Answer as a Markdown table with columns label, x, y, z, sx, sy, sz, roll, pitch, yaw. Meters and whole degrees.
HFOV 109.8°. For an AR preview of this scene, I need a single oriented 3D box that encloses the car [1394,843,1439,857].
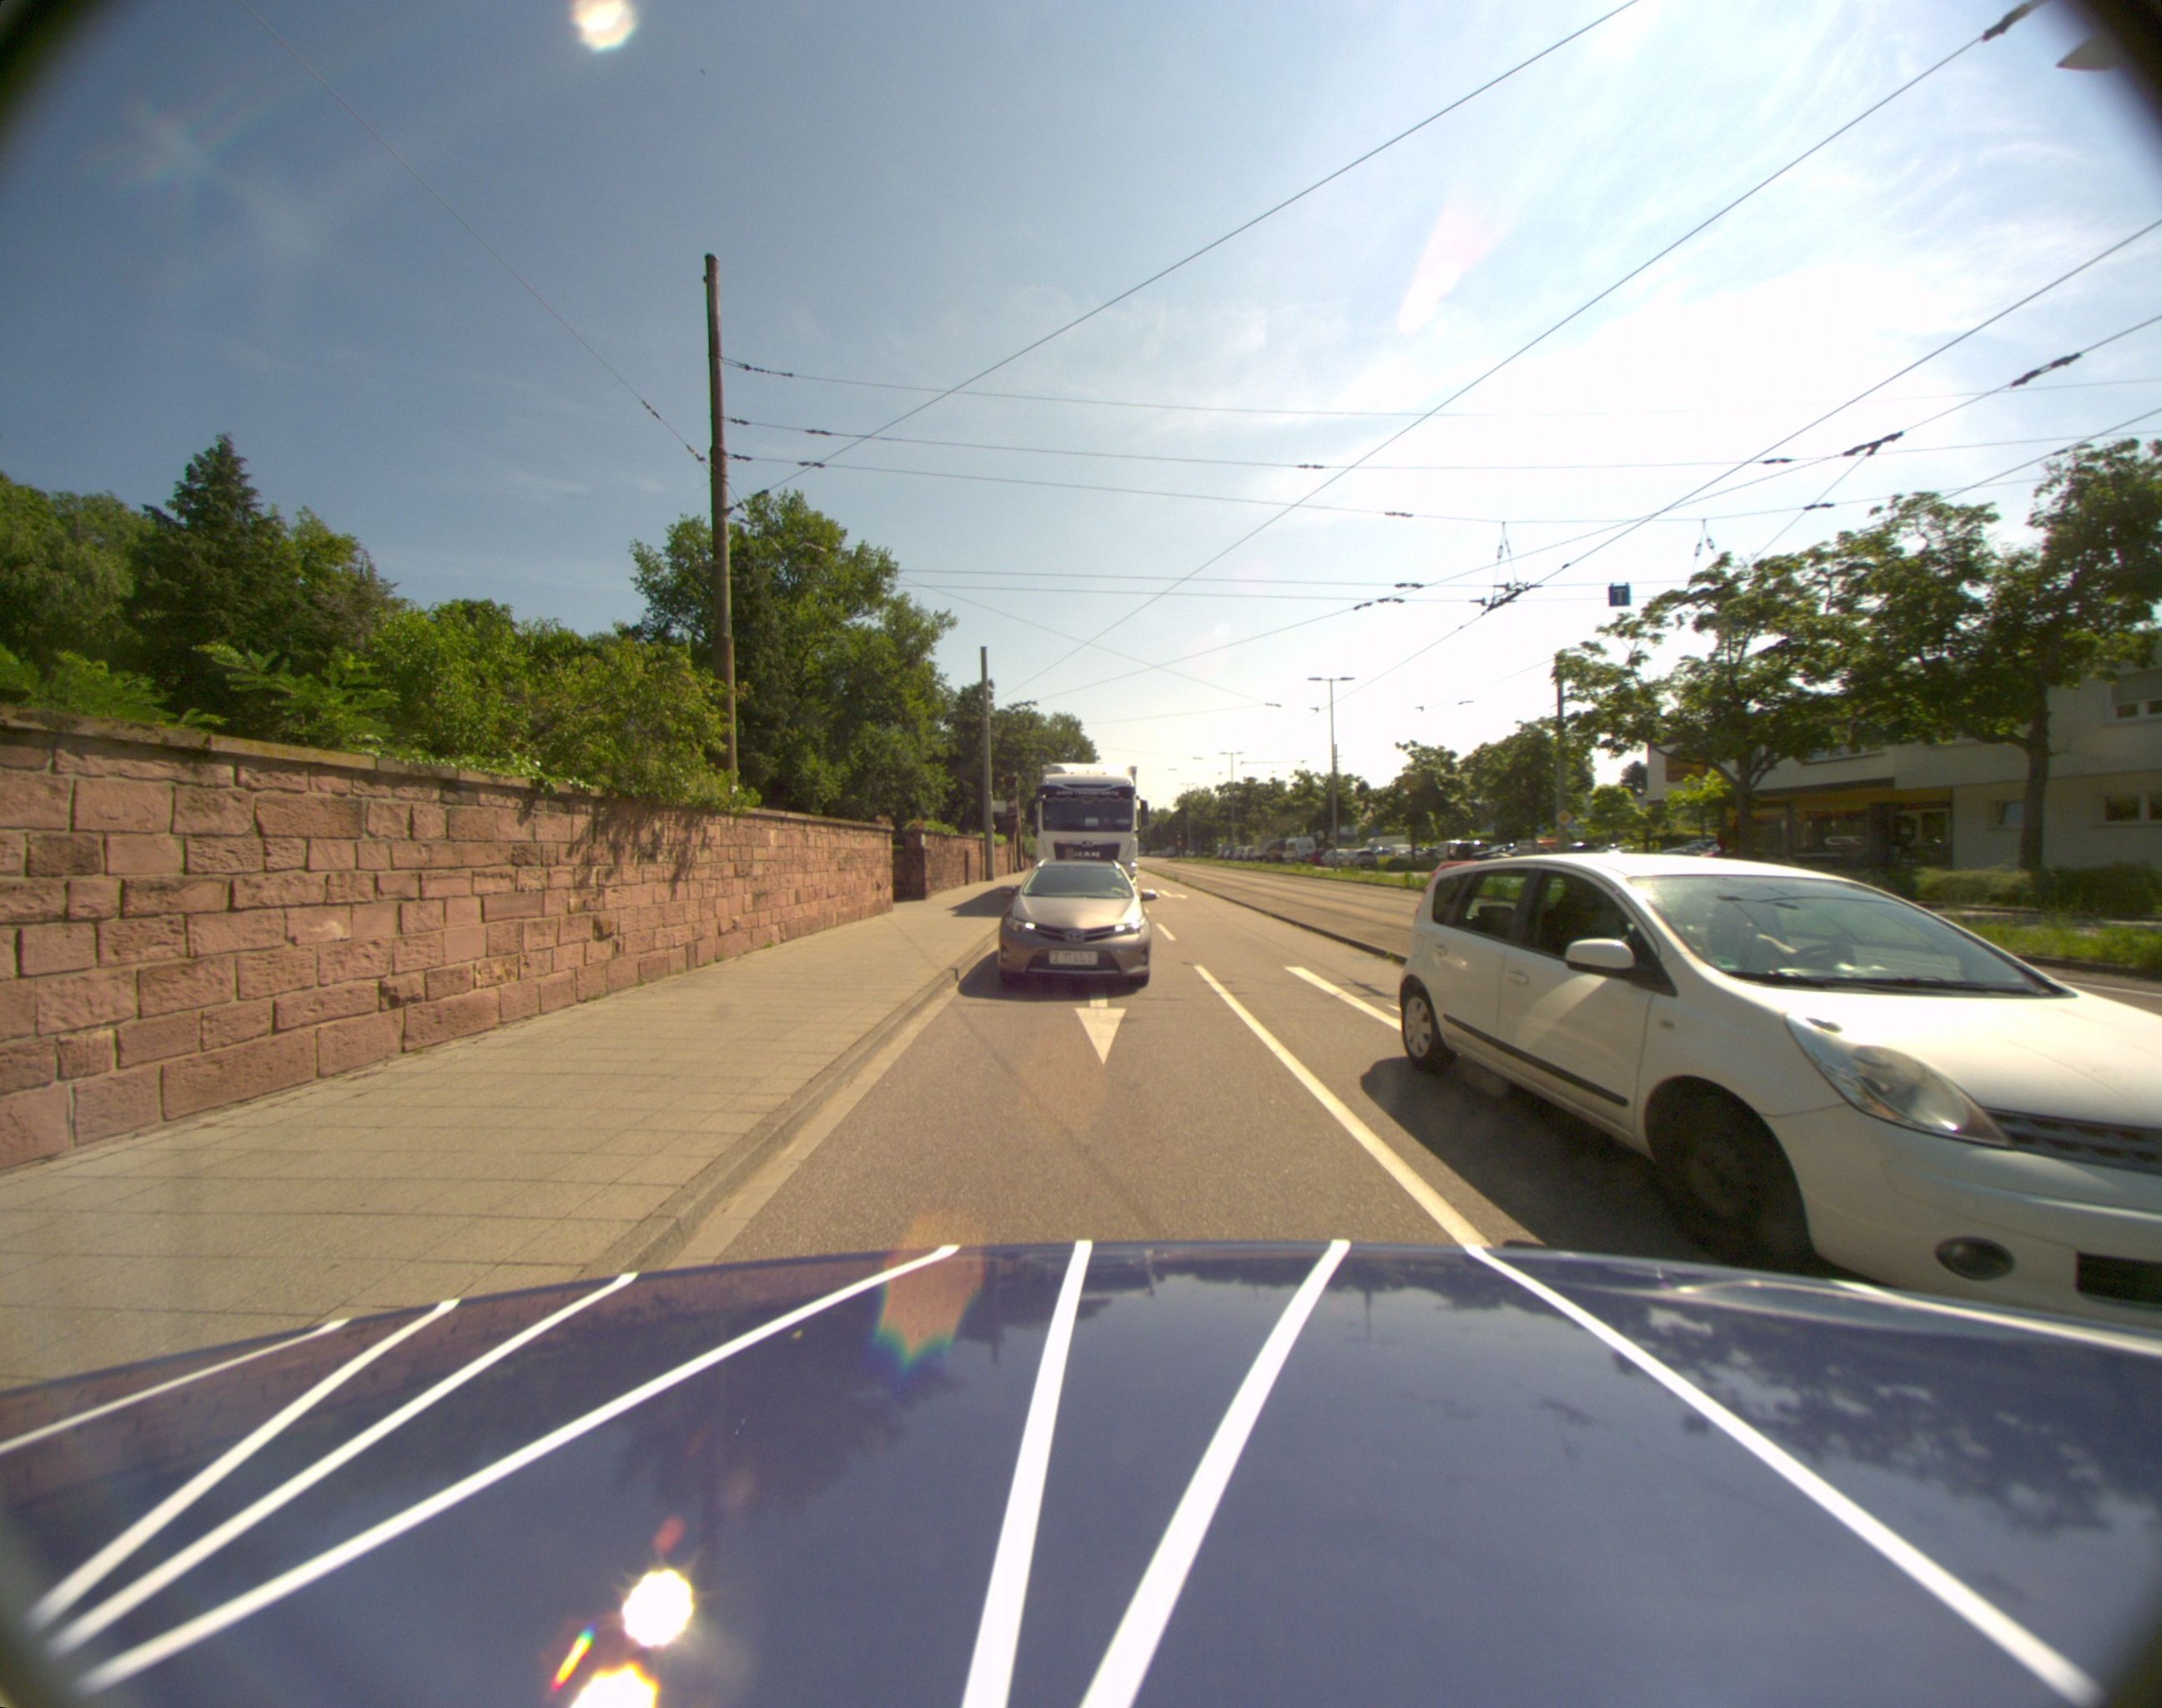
| label | x | y | z | sx | sy | sz | roll | pitch | yaw |
| --- | --- | --- | --- | --- | --- | --- | --- | --- | --- |
| car | 32.206 | -0.383 | 72.967 | 3.624 | 1.274 | 1.712 | -1 | 1 | -1 |

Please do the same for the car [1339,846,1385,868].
| label | x | y | z | sx | sy | sz | roll | pitch | yaw |
| --- | --- | --- | --- | --- | --- | --- | --- | --- | --- |
| car | 21.038 | 0.183 | 57.042 | 1.892 | 1.486 | 4.285 | -4 | 0 | 2 |

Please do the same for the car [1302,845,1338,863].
| label | x | y | z | sx | sy | sz | roll | pitch | yaw |
| --- | --- | --- | --- | --- | --- | --- | --- | --- | --- |
| car | 21.311 | 0.002 | 67.931 | 1.892 | 1.486 | 4.232 | -1 | 0 | 1 |

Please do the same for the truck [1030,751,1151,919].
| label | x | y | z | sx | sy | sz | roll | pitch | yaw |
| --- | --- | --- | --- | --- | --- | --- | --- | --- | --- |
| truck | 0.327 | -0.483 | 22.200 | 2.746 | 3.852 | 9.110 | 1 | 1 | 1 |

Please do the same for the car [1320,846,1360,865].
| label | x | y | z | sx | sy | sz | roll | pitch | yaw |
| --- | --- | --- | --- | --- | --- | --- | --- | --- | --- |
| car | 21.288 | 0.105 | 62.617 | 1.892 | 1.551 | 4.285 | -1 | 0 | 1 |

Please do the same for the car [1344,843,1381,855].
| label | x | y | z | sx | sy | sz | roll | pitch | yaw |
| --- | --- | --- | --- | --- | --- | --- | --- | --- | --- |
| car | 33.055 | -0.604 | 89.251 | 3.624 | 1.274 | 1.712 | -1 | 1 | -1 |

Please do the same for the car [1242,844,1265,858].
| label | x | y | z | sx | sy | sz | roll | pitch | yaw |
| --- | --- | --- | --- | --- | --- | --- | --- | --- | --- |
| car | 21.875 | -0.353 | 96.531 | 1.892 | 1.724 | 4.232 | -1 | 0 | 1 |

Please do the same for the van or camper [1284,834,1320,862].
| label | x | y | z | sx | sy | sz | roll | pitch | yaw |
| --- | --- | --- | --- | --- | --- | --- | --- | --- | --- |
| van or camper | 21.151 | -0.562 | 72.976 | 2.040 | 2.617 | 4.839 | -1 | 1 | 1 |

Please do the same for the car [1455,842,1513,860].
| label | x | y | z | sx | sy | sz | roll | pitch | yaw |
| --- | --- | --- | --- | --- | --- | --- | --- | --- | --- |
| car | 31.447 | -0.246 | 59.283 | 3.624 | 1.354 | 1.712 | -1 | 1 | -1 |

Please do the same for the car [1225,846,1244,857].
| label | x | y | z | sx | sy | sz | roll | pitch | yaw |
| --- | --- | --- | --- | --- | --- | --- | --- | --- | --- |
| car | 22.126 | -0.395 | 109.349 | 1.892 | 1.551 | 4.232 | -1 | 0 | 1 |

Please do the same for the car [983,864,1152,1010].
| label | x | y | z | sx | sy | sz | roll | pitch | yaw |
| --- | --- | --- | --- | --- | --- | --- | --- | --- | --- |
| car | -0.088 | 0.896 | 10.128 | 1.742 | 1.424 | 4.462 | 0 | 0 | 1 |

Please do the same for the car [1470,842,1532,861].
| label | x | y | z | sx | sy | sz | roll | pitch | yaw |
| --- | --- | --- | --- | --- | --- | --- | --- | --- | --- |
| car | 31.216 | -0.210 | 56.542 | 3.624 | 1.354 | 1.712 | -1 | 1 | -1 |

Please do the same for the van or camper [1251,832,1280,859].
| label | x | y | z | sx | sy | sz | roll | pitch | yaw |
| --- | --- | --- | --- | --- | --- | --- | --- | --- | --- |
| van or camper | 21.330 | -0.938 | 87.920 | 2.128 | 2.968 | 5.281 | -1 | 1 | 1 |

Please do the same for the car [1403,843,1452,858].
| label | x | y | z | sx | sy | sz | roll | pitch | yaw |
| --- | --- | --- | --- | --- | --- | --- | --- | --- | --- |
| car | 31.783 | -0.347 | 69.778 | 3.624 | 1.274 | 1.812 | -1 | 1 | -1 |

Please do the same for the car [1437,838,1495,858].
| label | x | y | z | sx | sy | sz | roll | pitch | yaw |
| --- | --- | --- | --- | --- | --- | --- | --- | --- | --- |
| car | 31.229 | -0.460 | 61.751 | 3.749 | 1.560 | 1.951 | -1 | 1 | -1 |

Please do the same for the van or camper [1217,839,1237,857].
| label | x | y | z | sx | sy | sz | roll | pitch | yaw |
| --- | --- | --- | --- | --- | --- | --- | --- | --- | --- |
| van or camper | 22.284 | -0.943 | 115.882 | 2.114 | 2.604 | 5.452 | 0 | 1 | 1 |

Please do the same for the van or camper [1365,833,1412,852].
| label | x | y | z | sx | sy | sz | roll | pitch | yaw |
| --- | --- | --- | --- | --- | --- | --- | --- | --- | --- |
| van or camper | 46.204 | -1.674 | 114.274 | 6.081 | 2.715 | 2.299 | -1 | 1 | 3 |

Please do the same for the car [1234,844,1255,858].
| label | x | y | z | sx | sy | sz | roll | pitch | yaw |
| --- | --- | --- | --- | --- | --- | --- | --- | --- | --- |
| car | 22.217 | -0.416 | 103.463 | 1.892 | 1.757 | 4.232 | -1 | 0 | 1 |

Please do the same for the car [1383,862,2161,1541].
| label | x | y | z | sx | sy | sz | roll | pitch | yaw |
| --- | --- | --- | --- | --- | --- | --- | --- | --- | --- |
| car | 3.183 | 0.859 | 3.832 | 1.770 | 1.552 | 4.067 | 0 | 1 | 1 |

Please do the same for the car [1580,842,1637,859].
| label | x | y | z | sx | sy | sz | roll | pitch | yaw |
| --- | --- | --- | --- | --- | --- | --- | --- | --- | --- |
| car | 44.344 | -0.278 | 63.908 | 3.624 | 1.354 | 1.712 | -1 | 1 | -1 |

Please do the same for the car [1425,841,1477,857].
| label | x | y | z | sx | sy | sz | roll | pitch | yaw |
| --- | --- | --- | --- | --- | --- | --- | --- | --- | --- |
| car | 31.176 | -0.407 | 64.078 | 3.624 | 1.277 | 1.712 | -1 | 1 | -1 |

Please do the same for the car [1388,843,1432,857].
| label | x | y | z | sx | sy | sz | roll | pitch | yaw |
| --- | --- | --- | --- | --- | --- | --- | --- | --- | --- |
| car | 32.462 | -0.411 | 74.951 | 3.624 | 1.274 | 1.712 | -1 | 1 | -1 |

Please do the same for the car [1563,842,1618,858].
| label | x | y | z | sx | sy | sz | roll | pitch | yaw |
| --- | --- | --- | --- | --- | --- | --- | --- | --- | --- |
| car | 44.567 | -0.356 | 66.496 | 3.624 | 1.354 | 1.712 | -1 | 1 | -1 |

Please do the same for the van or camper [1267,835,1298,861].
| label | x | y | z | sx | sy | sz | roll | pitch | yaw |
| --- | --- | --- | --- | --- | --- | --- | --- | --- | --- |
| van or camper | 21.169 | -0.657 | 80.031 | 2.040 | 2.617 | 4.839 | -1 | 1 | 1 |

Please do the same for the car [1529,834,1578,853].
| label | x | y | z | sx | sy | sz | roll | pitch | yaw |
| --- | --- | --- | --- | --- | --- | --- | --- | --- | --- |
| car | 44.458 | -0.976 | 71.533 | 3.624 | 1.767 | 1.712 | -1 | 1 | -1 |
